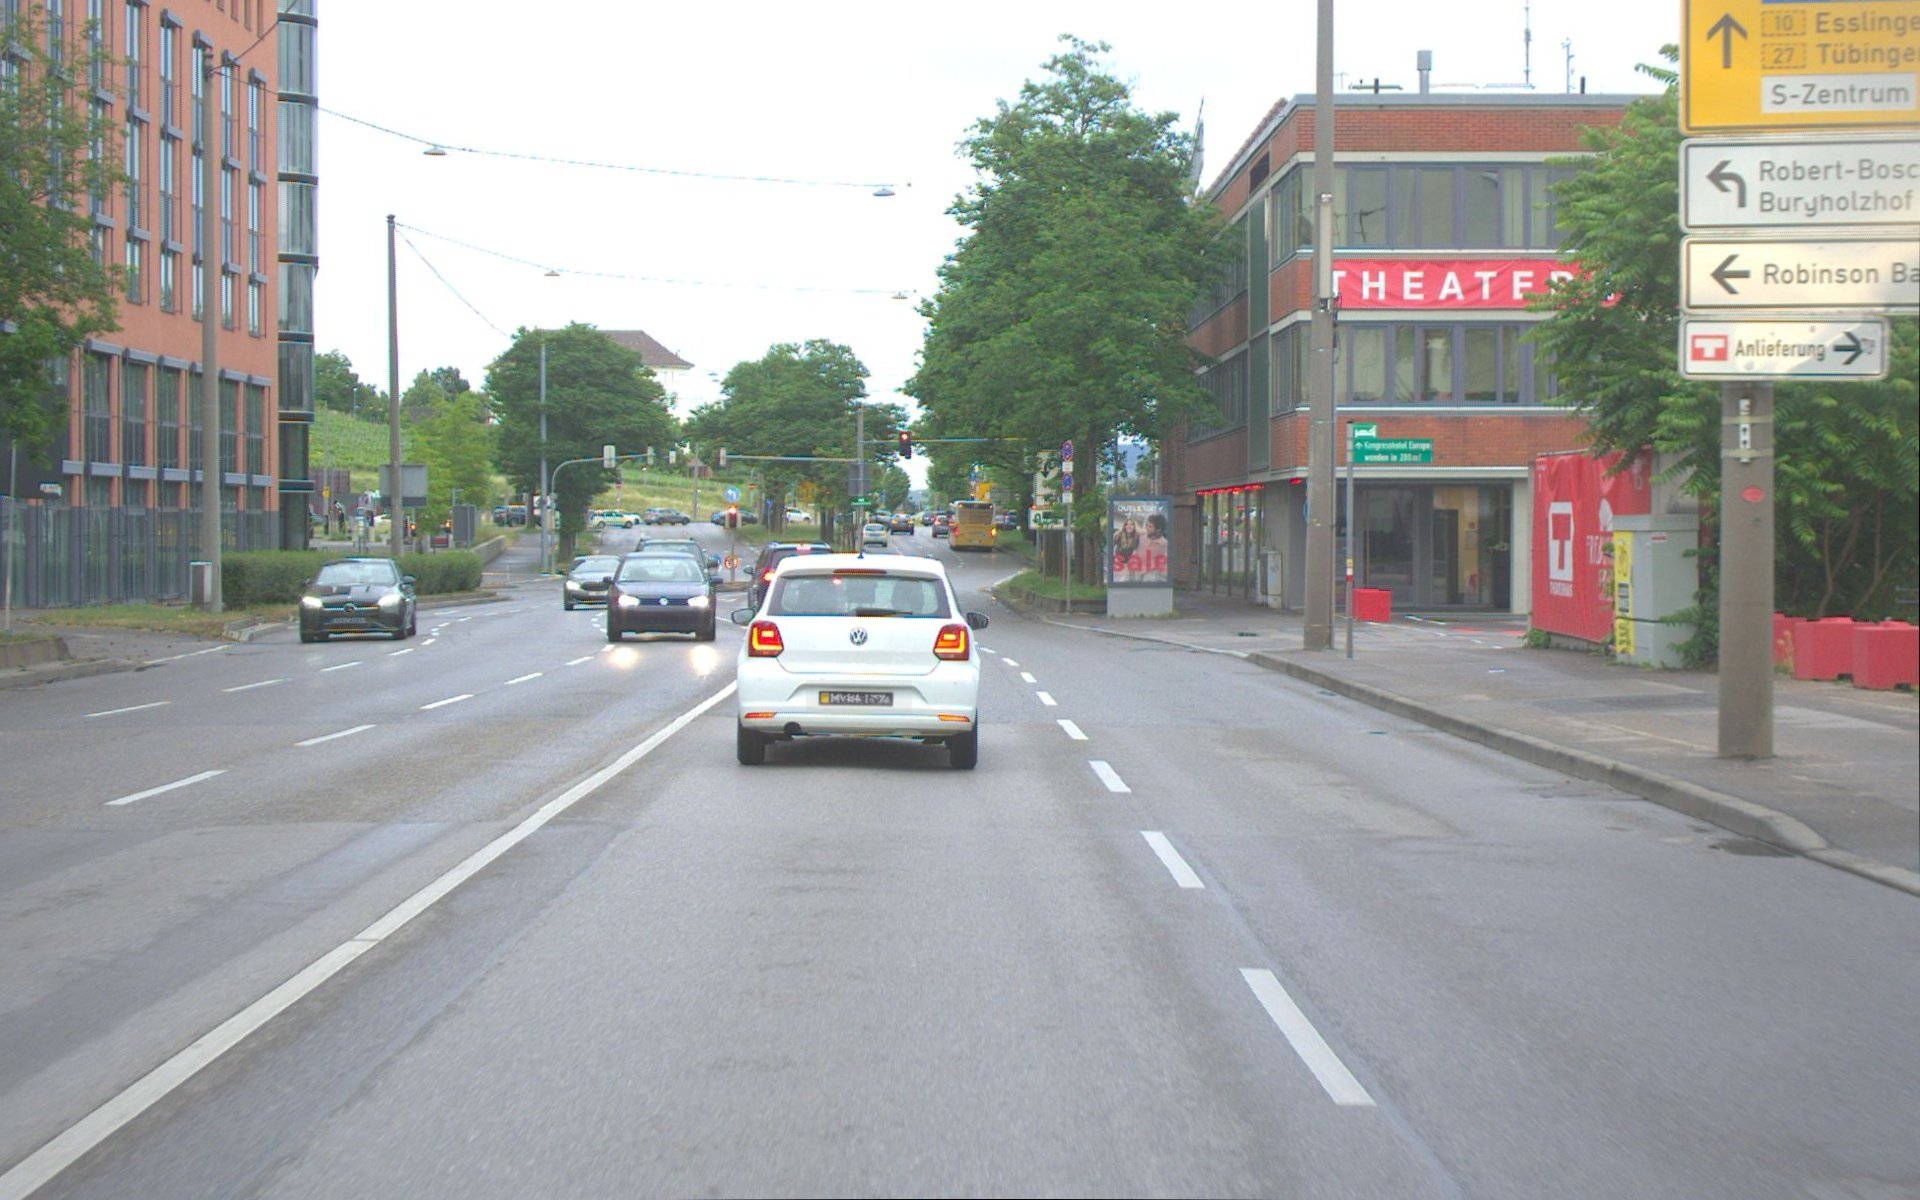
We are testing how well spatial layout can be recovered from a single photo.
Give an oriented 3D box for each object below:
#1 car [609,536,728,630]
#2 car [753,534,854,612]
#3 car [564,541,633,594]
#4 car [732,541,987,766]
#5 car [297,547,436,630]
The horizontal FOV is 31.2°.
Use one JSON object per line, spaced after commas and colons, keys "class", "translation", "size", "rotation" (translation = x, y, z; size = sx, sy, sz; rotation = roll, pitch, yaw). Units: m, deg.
{"class": "car", "translation": [-4.728, -0.297, 56.227], "size": [1.659, 1.481, 3.820], "rotation": [0, 1, -1]}
{"class": "car", "translation": [-3.239, -0.589, 71.845], "size": [1.993, 1.568, 4.000], "rotation": [0, 1, -1]}
{"class": "car", "translation": [-9.657, -0.872, 92.065], "size": [1.712, 1.360, 4.001], "rotation": [-1, 1, -4]}
{"class": "car", "translation": [-0.701, 0.321, 24.569], "size": [1.671, 1.469, 3.780], "rotation": [0, 1, -1]}
{"class": "car", "translation": [-10.529, -0.237, 61.264], "size": [1.621, 1.319, 4.446], "rotation": [-2, 2, 1]}
